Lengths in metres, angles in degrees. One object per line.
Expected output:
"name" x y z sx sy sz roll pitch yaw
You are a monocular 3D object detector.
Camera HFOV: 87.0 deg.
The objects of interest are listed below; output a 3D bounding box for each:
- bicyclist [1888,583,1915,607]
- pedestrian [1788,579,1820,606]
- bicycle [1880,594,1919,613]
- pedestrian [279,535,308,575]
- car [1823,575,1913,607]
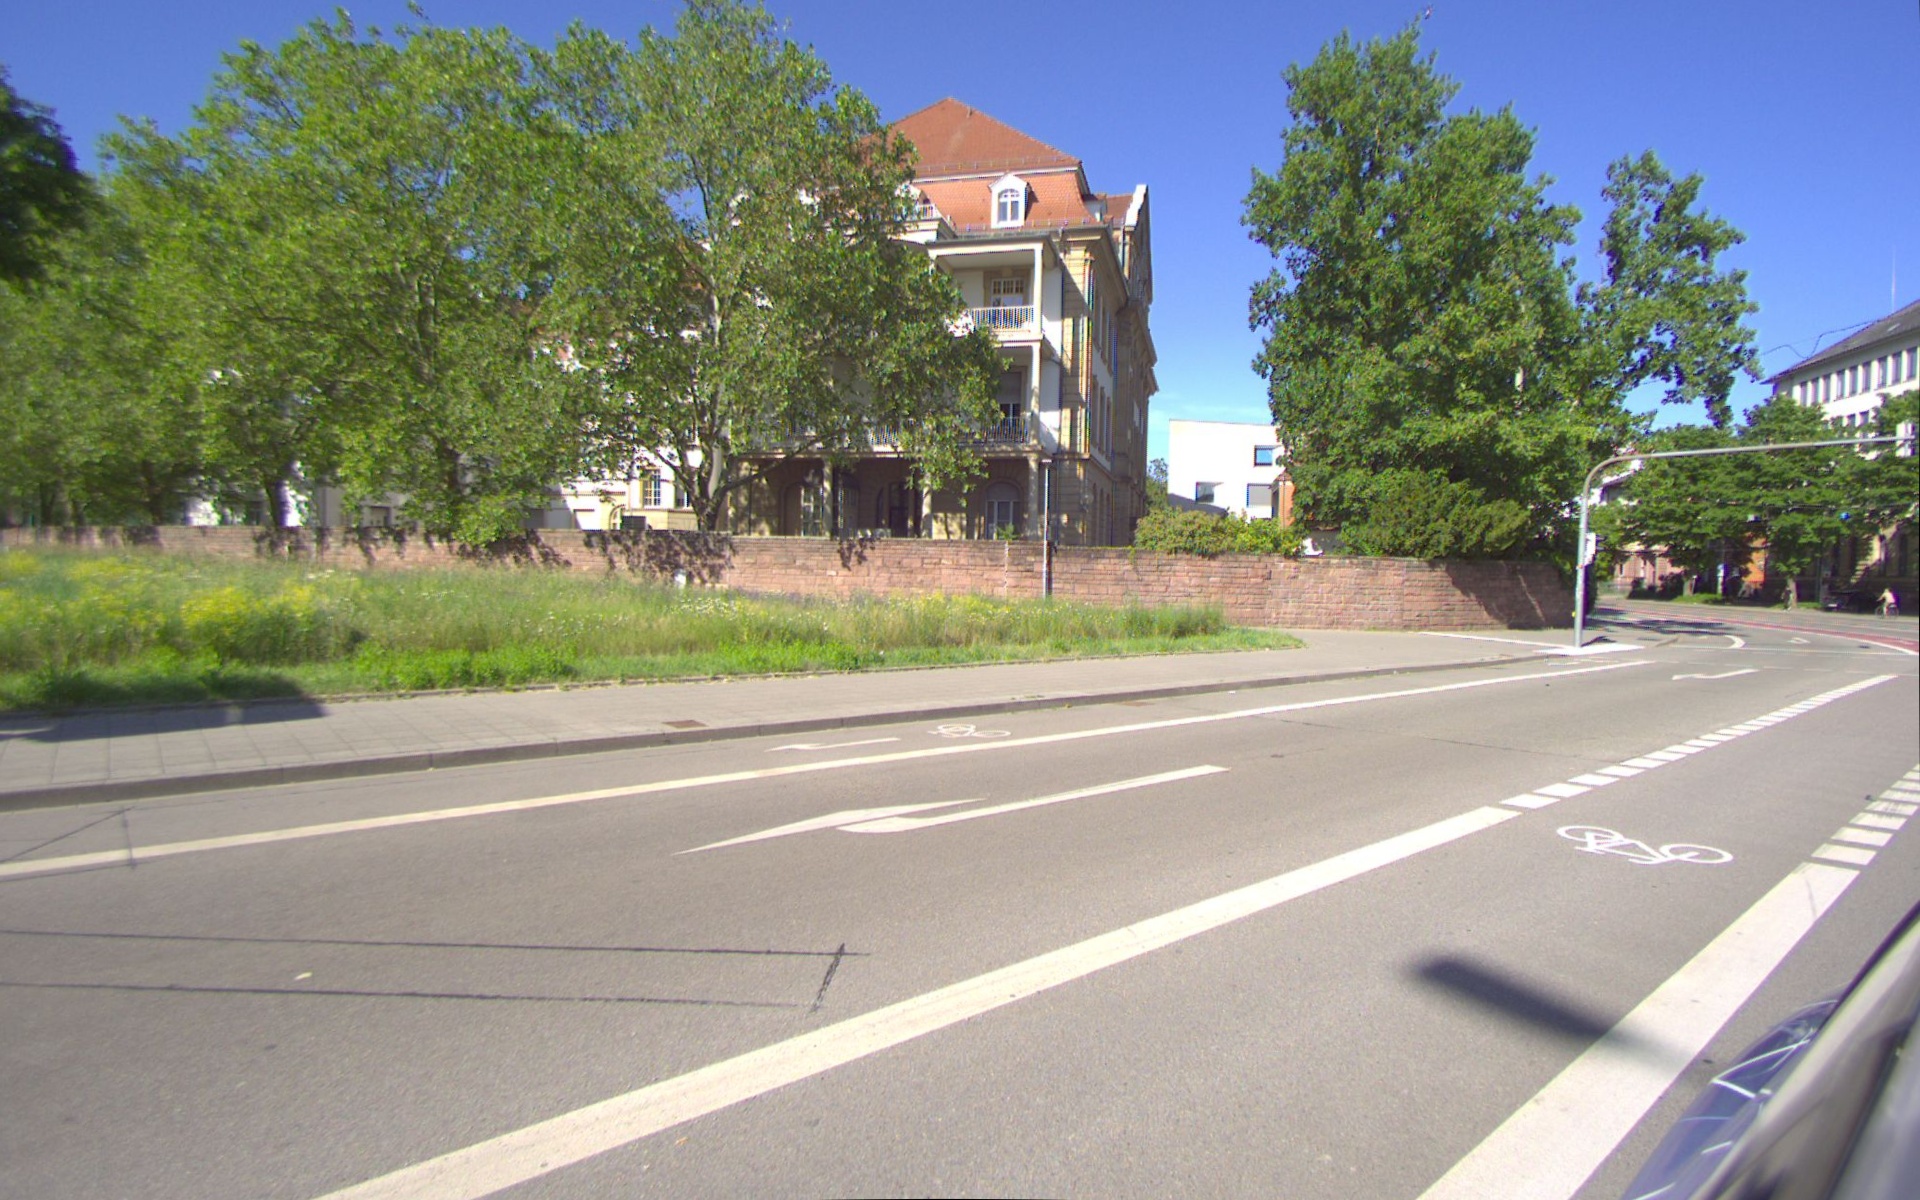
"bicyclist" 54.798 -0.293 58.899 0.720 1.402 0.895 1 1 3
"pedestrian" 59.498 -0.561 71.349 1.366 1.844 0.937 1 1 4
"bicycle" 54.792 0.186 58.957 0.720 1.003 1.834 1 2 3
"pedestrian" -24.538 -1.655 37.270 0.516 1.461 0.721 0 0 20
"car" 61.208 -0.644 68.245 4.615 2.038 2.004 1 2 -9
